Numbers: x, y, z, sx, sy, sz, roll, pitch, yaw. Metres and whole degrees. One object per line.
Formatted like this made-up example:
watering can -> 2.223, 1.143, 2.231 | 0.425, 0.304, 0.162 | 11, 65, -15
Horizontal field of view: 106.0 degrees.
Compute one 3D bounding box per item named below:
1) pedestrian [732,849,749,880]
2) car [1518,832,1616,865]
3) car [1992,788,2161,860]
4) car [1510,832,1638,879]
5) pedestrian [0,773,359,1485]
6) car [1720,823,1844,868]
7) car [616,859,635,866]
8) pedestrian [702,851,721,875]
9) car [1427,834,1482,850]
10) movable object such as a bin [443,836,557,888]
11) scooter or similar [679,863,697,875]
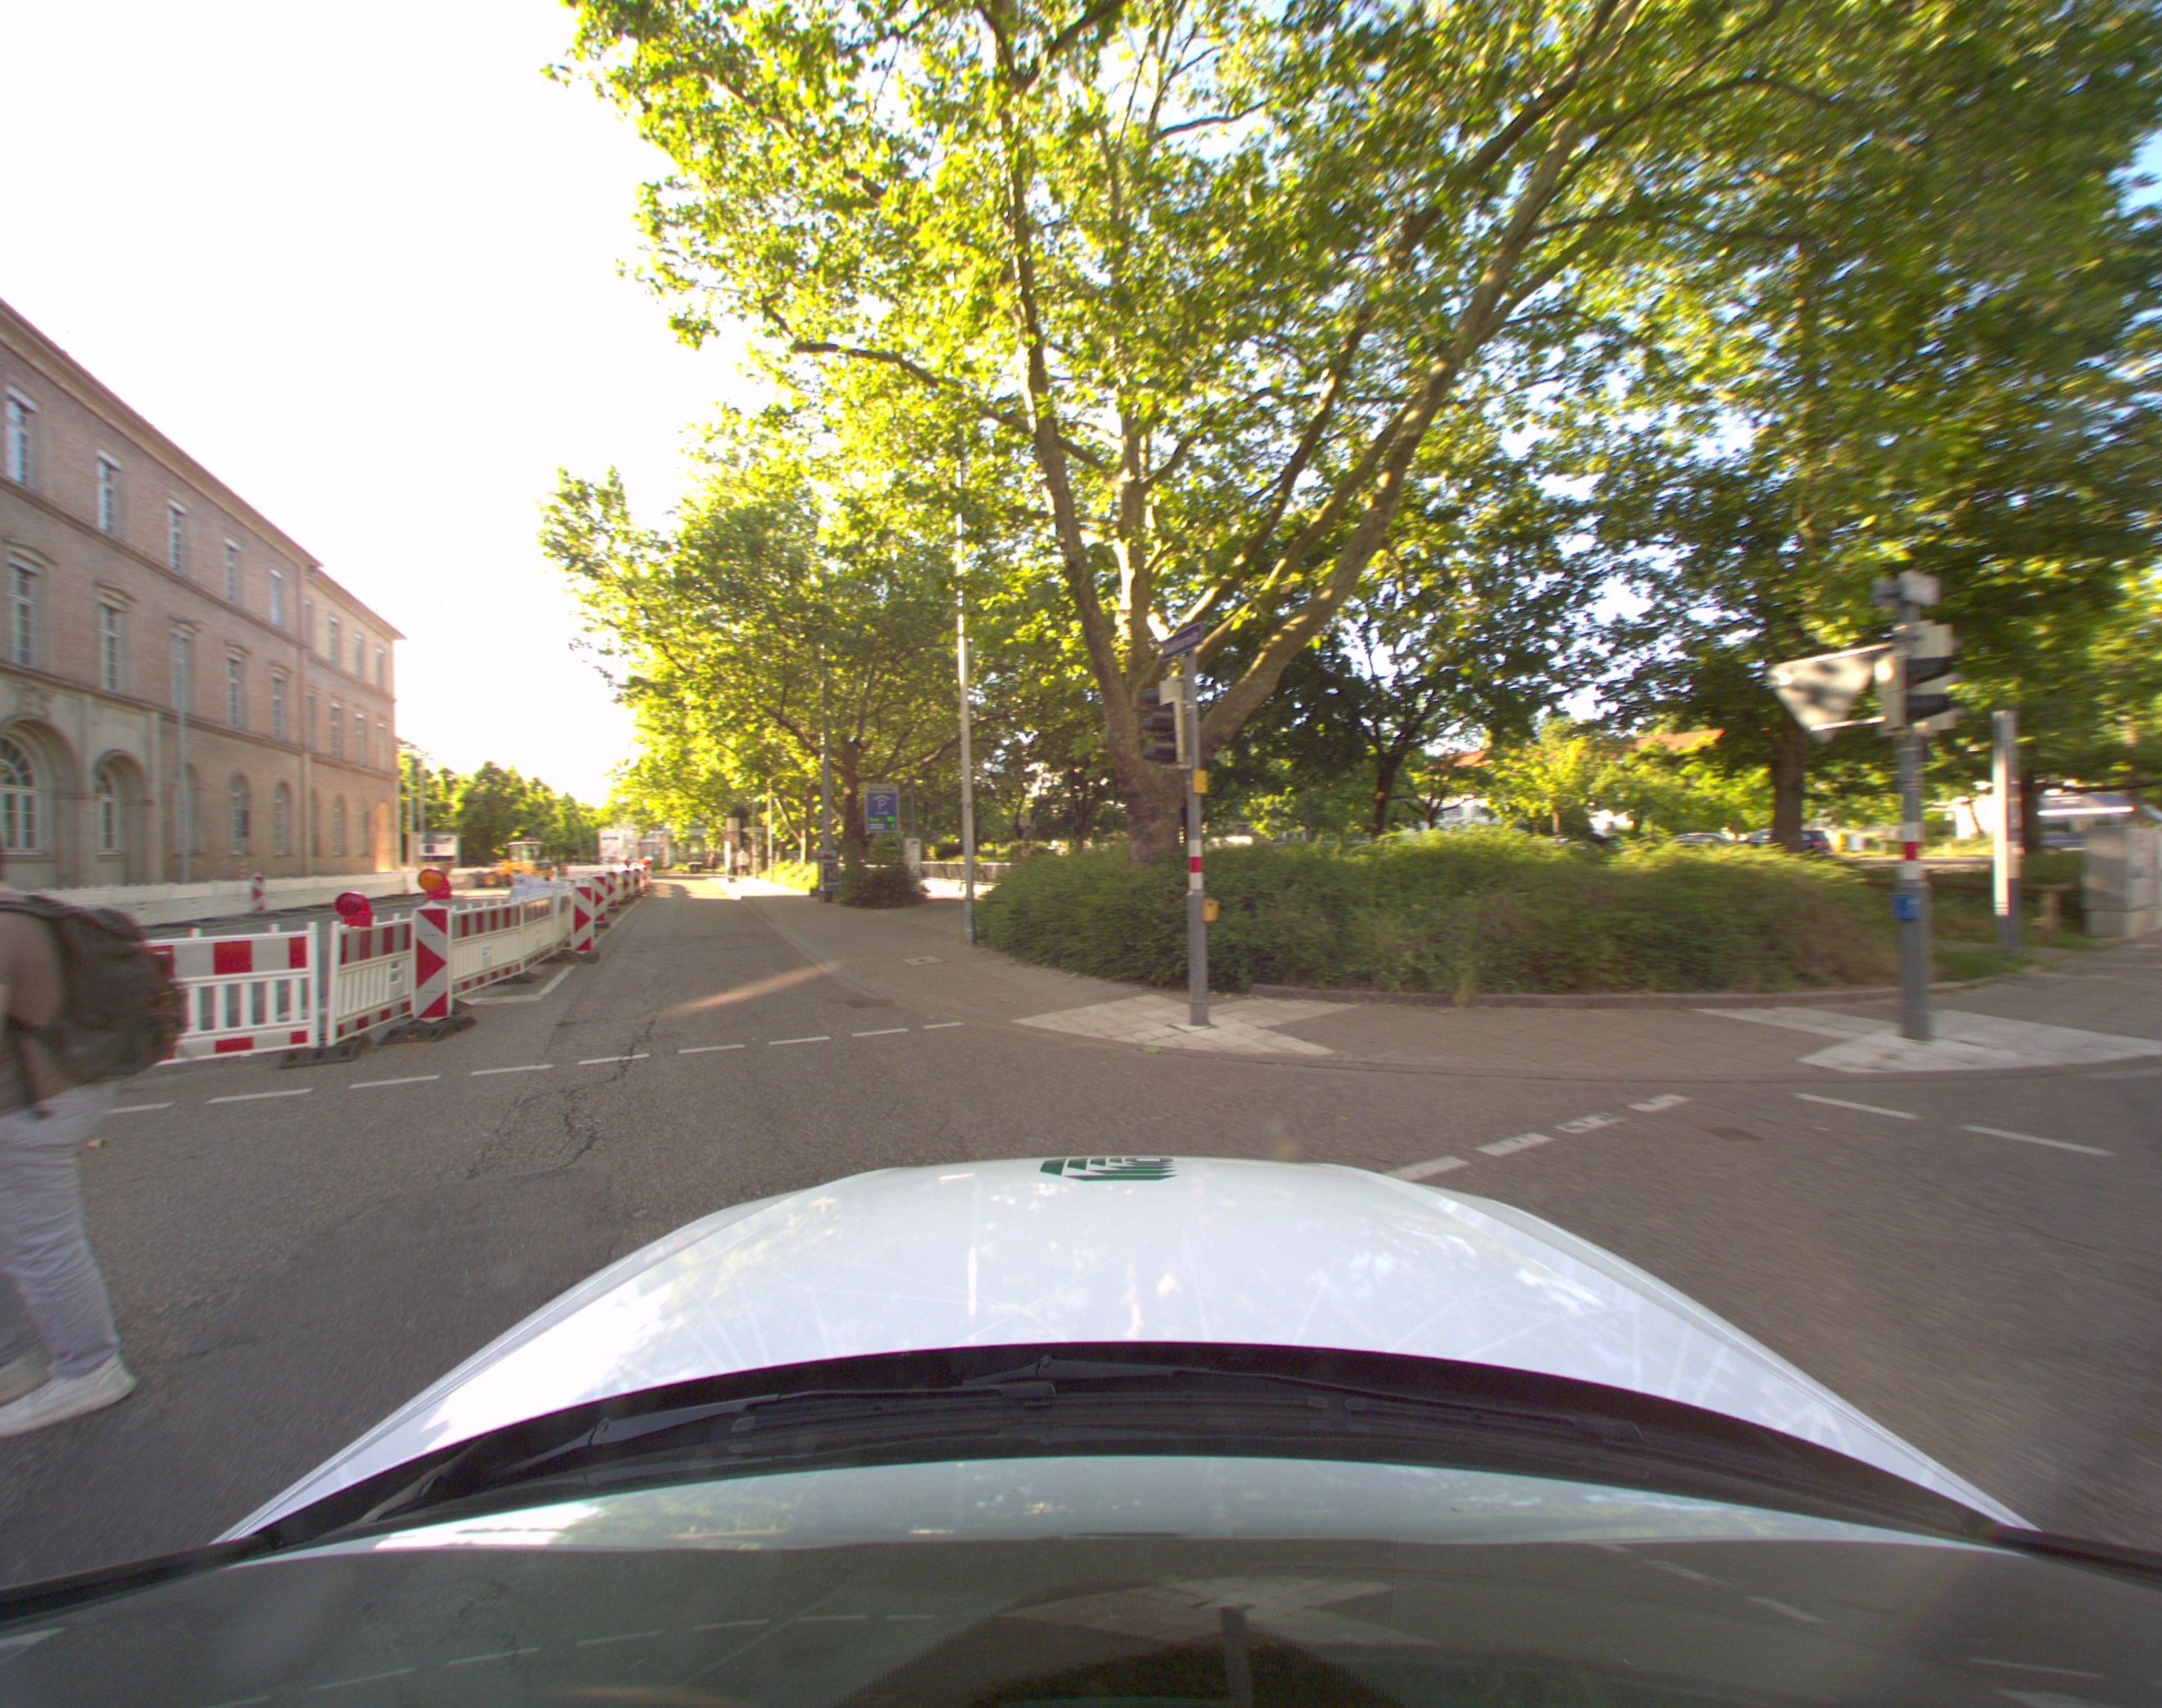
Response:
pedestrian -> -20.178, 0.598, 48.266 | 0.749, 1.812, 1.123 | -1, 2, -30
car -> 24.944, -0.275, 41.960 | 1.928, 1.626, 3.966 | 0, 0, -26
car -> 38.692, -1.104, 30.948 | 2.005, 2.572, 5.112 | -1, 1, -28
car -> 20.516, 0.033, 34.088 | 1.792, 1.811, 4.272 | -1, 1, -28
pedestrian -> -2.864, 0.683, 2.361 | 0.883, 1.772, 0.743 | -1, 0, -17
car -> 34.201, -0.422, 39.856 | 1.792, 2.088, 4.273 | -1, 1, -28
car -> -124.333, 2.224, 222.405 | 4.583, 1.790, 1.982 | 0, 0, -28
pedestrian -> -24.985, 0.591, 55.032 | 0.927, 1.623, 0.715 | -2, 0, 32
car -> 36.026, -1.140, 78.638 | 2.018, 1.475, 4.617 | 0, 0, -26
movable object such as a bin -> -35.922, 0.494, 50.429 | 5.866, 3.031, 2.579 | -2, 1, 17
scooter or similar -> -30.270, 1.151, 62.670 | 1.155, 0.914, 0.415 | -3, 0, -34
